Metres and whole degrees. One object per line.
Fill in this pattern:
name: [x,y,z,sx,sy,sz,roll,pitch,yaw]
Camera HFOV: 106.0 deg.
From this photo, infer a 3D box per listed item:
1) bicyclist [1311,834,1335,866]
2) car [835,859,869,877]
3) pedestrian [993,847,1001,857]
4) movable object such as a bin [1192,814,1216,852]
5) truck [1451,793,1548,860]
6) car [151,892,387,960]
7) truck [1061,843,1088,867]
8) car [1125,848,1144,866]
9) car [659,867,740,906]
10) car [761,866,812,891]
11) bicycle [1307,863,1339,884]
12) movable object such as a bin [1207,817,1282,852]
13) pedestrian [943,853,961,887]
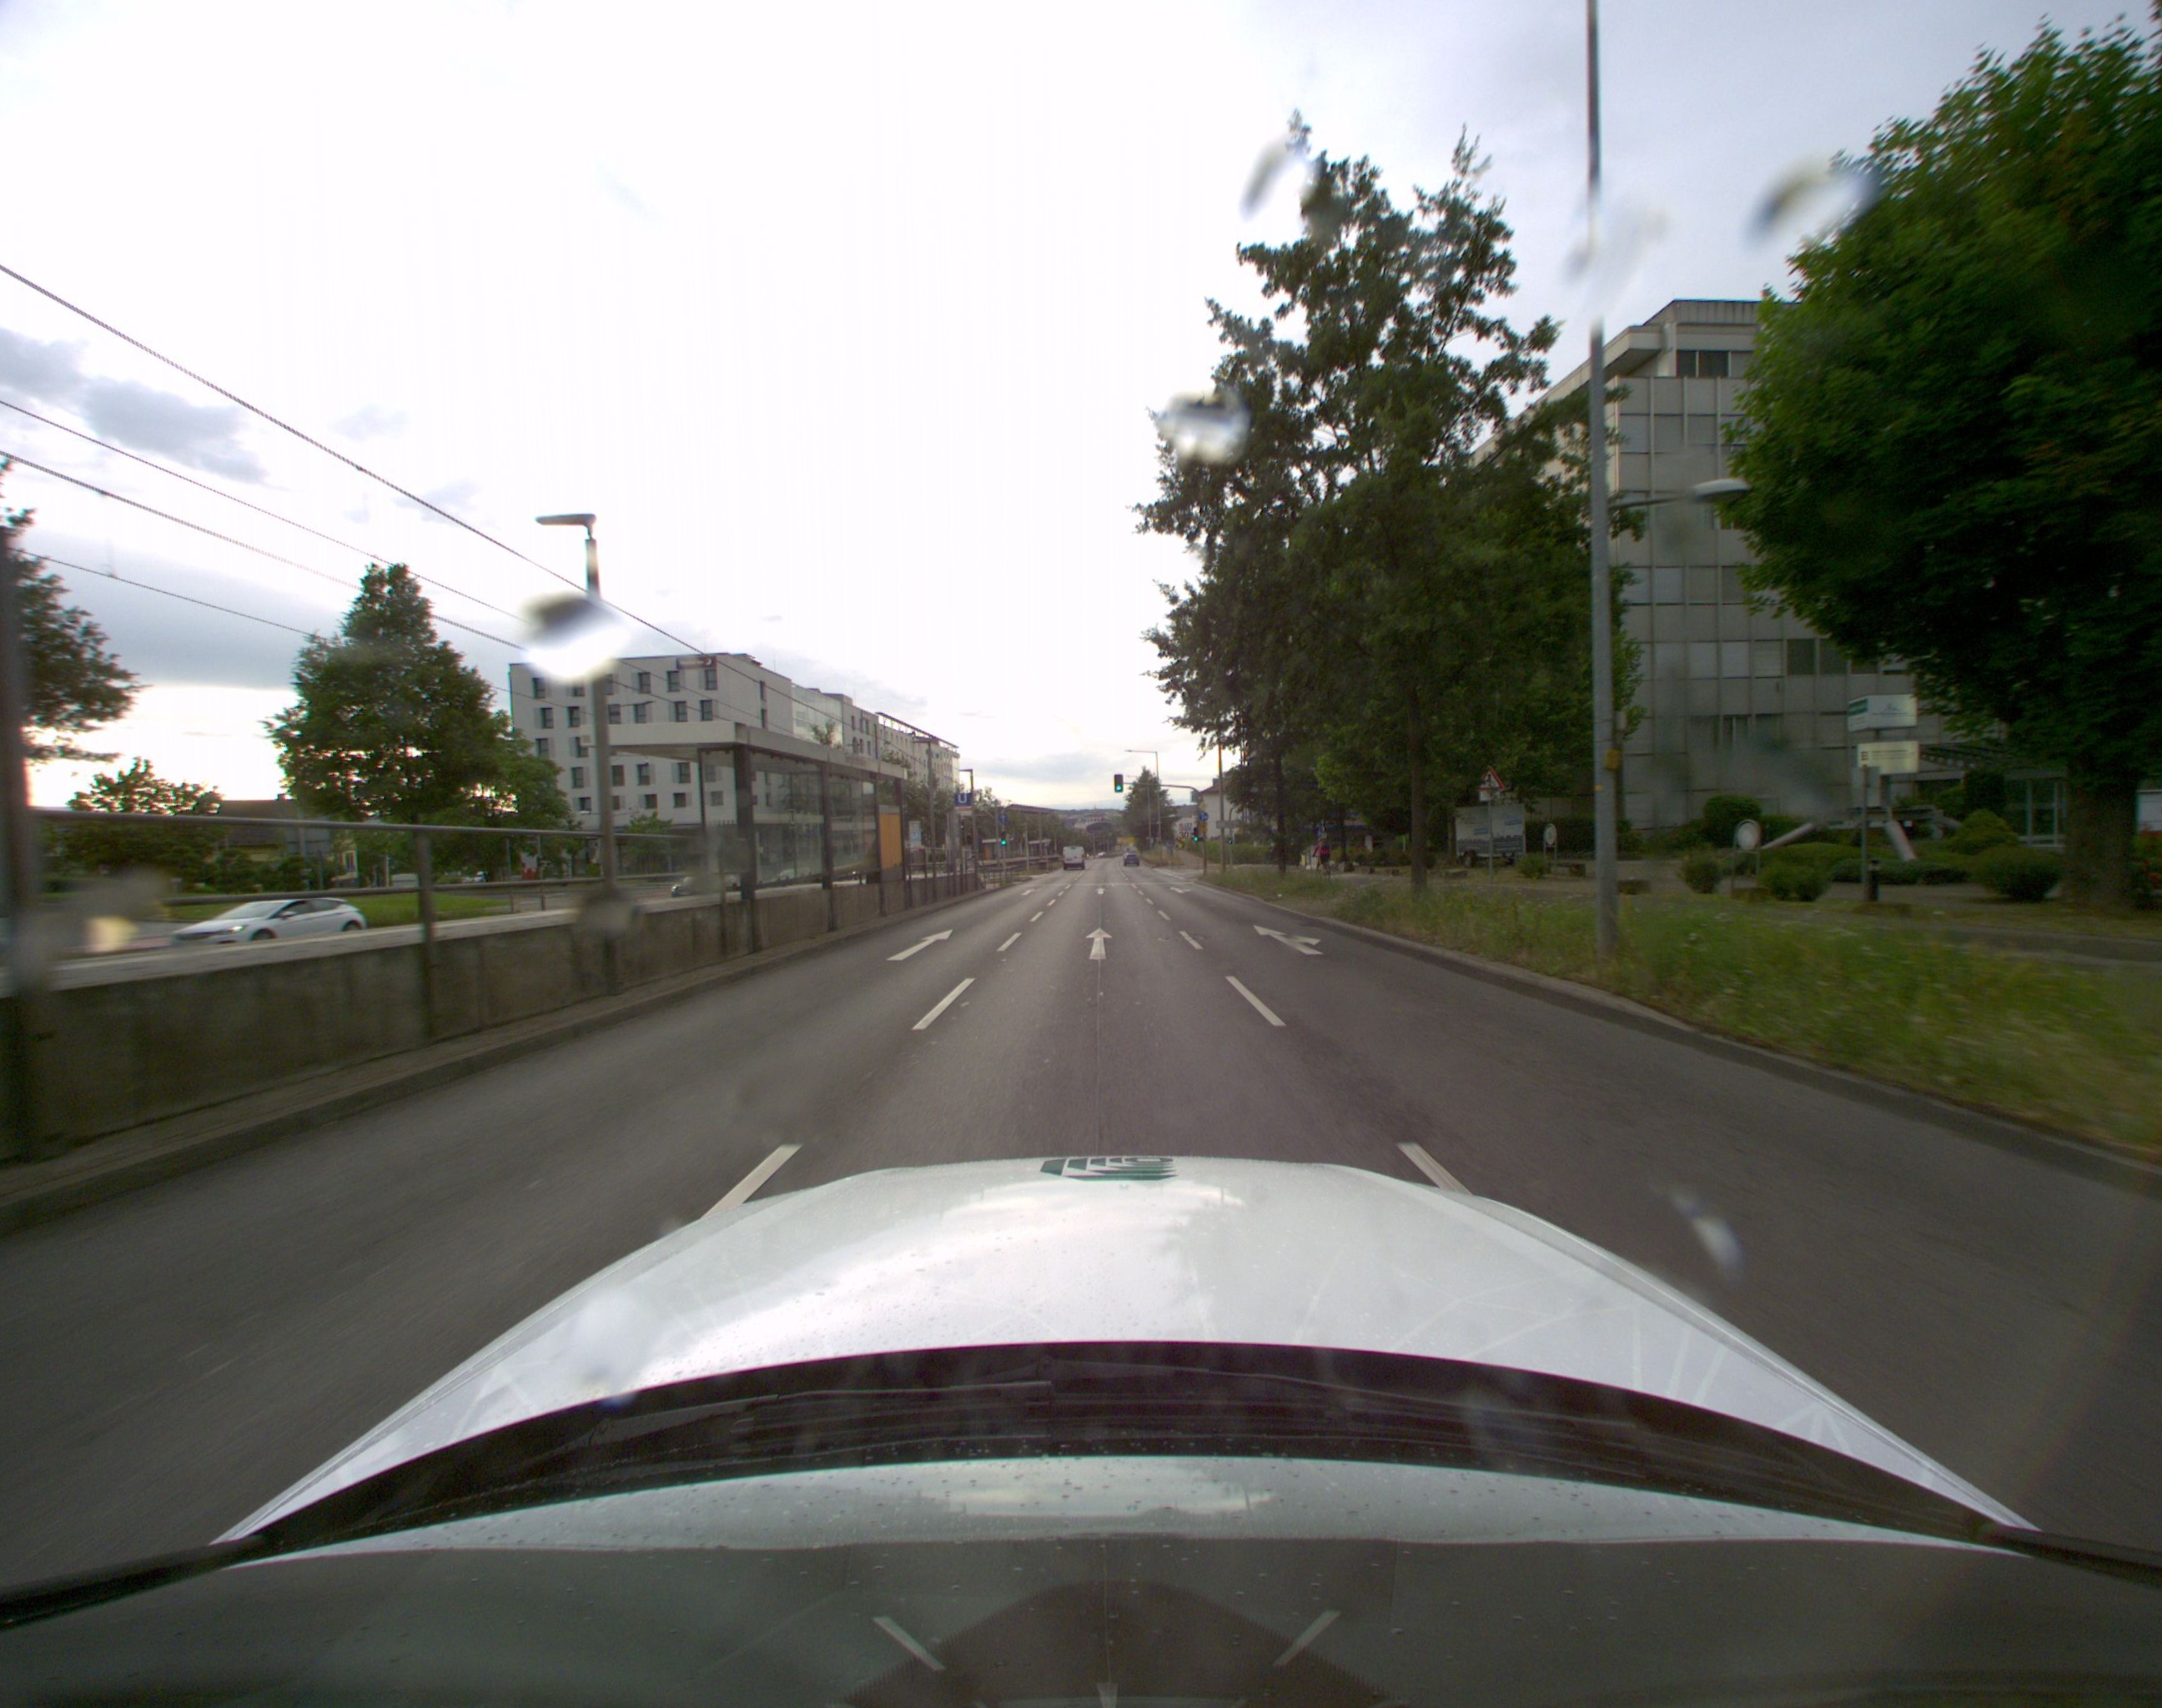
bicyclist: [9.826,-0.154,33.153,0.653,1.288,1.220,0,0,1]
car: [-19.858,1.228,70.799,1.722,1.423,3.780,-2,0,1]
pedestrian: [-11.326,-0.244,110.345,0.957,1.300,0.685,-2,0,2]
movable object such as a bin: [19.580,-3.274,129.970,3.275,5.684,8.775,0,0,5]
truck: [16.639,-1.020,32.622,1.741,2.518,3.997,0,0,-2]
car: [-22.813,1.954,23.223,1.987,1.517,4.706,0,0,0]
truck: [-0.605,0.122,81.146,2.350,2.262,5.310,0,0,3]
car: [6.162,0.302,93.603,1.984,2.014,3.940,0,0,5]
car: [-19.885,1.638,42.649,1.986,1.774,4.390,-2,0,2]
car: [-20.175,1.637,55.902,1.848,1.427,4.387,-3,0,-1]
bicycle: [9.842,0.768,33.214,0.665,0.809,2.319,0,0,2]
movable object such as a bin: [28.132,-3.349,140.595,12.094,5.261,3.791,-3,-1,2]
pedestrian: [-6.355,0.784,40.107,0.704,1.650,0.644,-1,0,-27]
